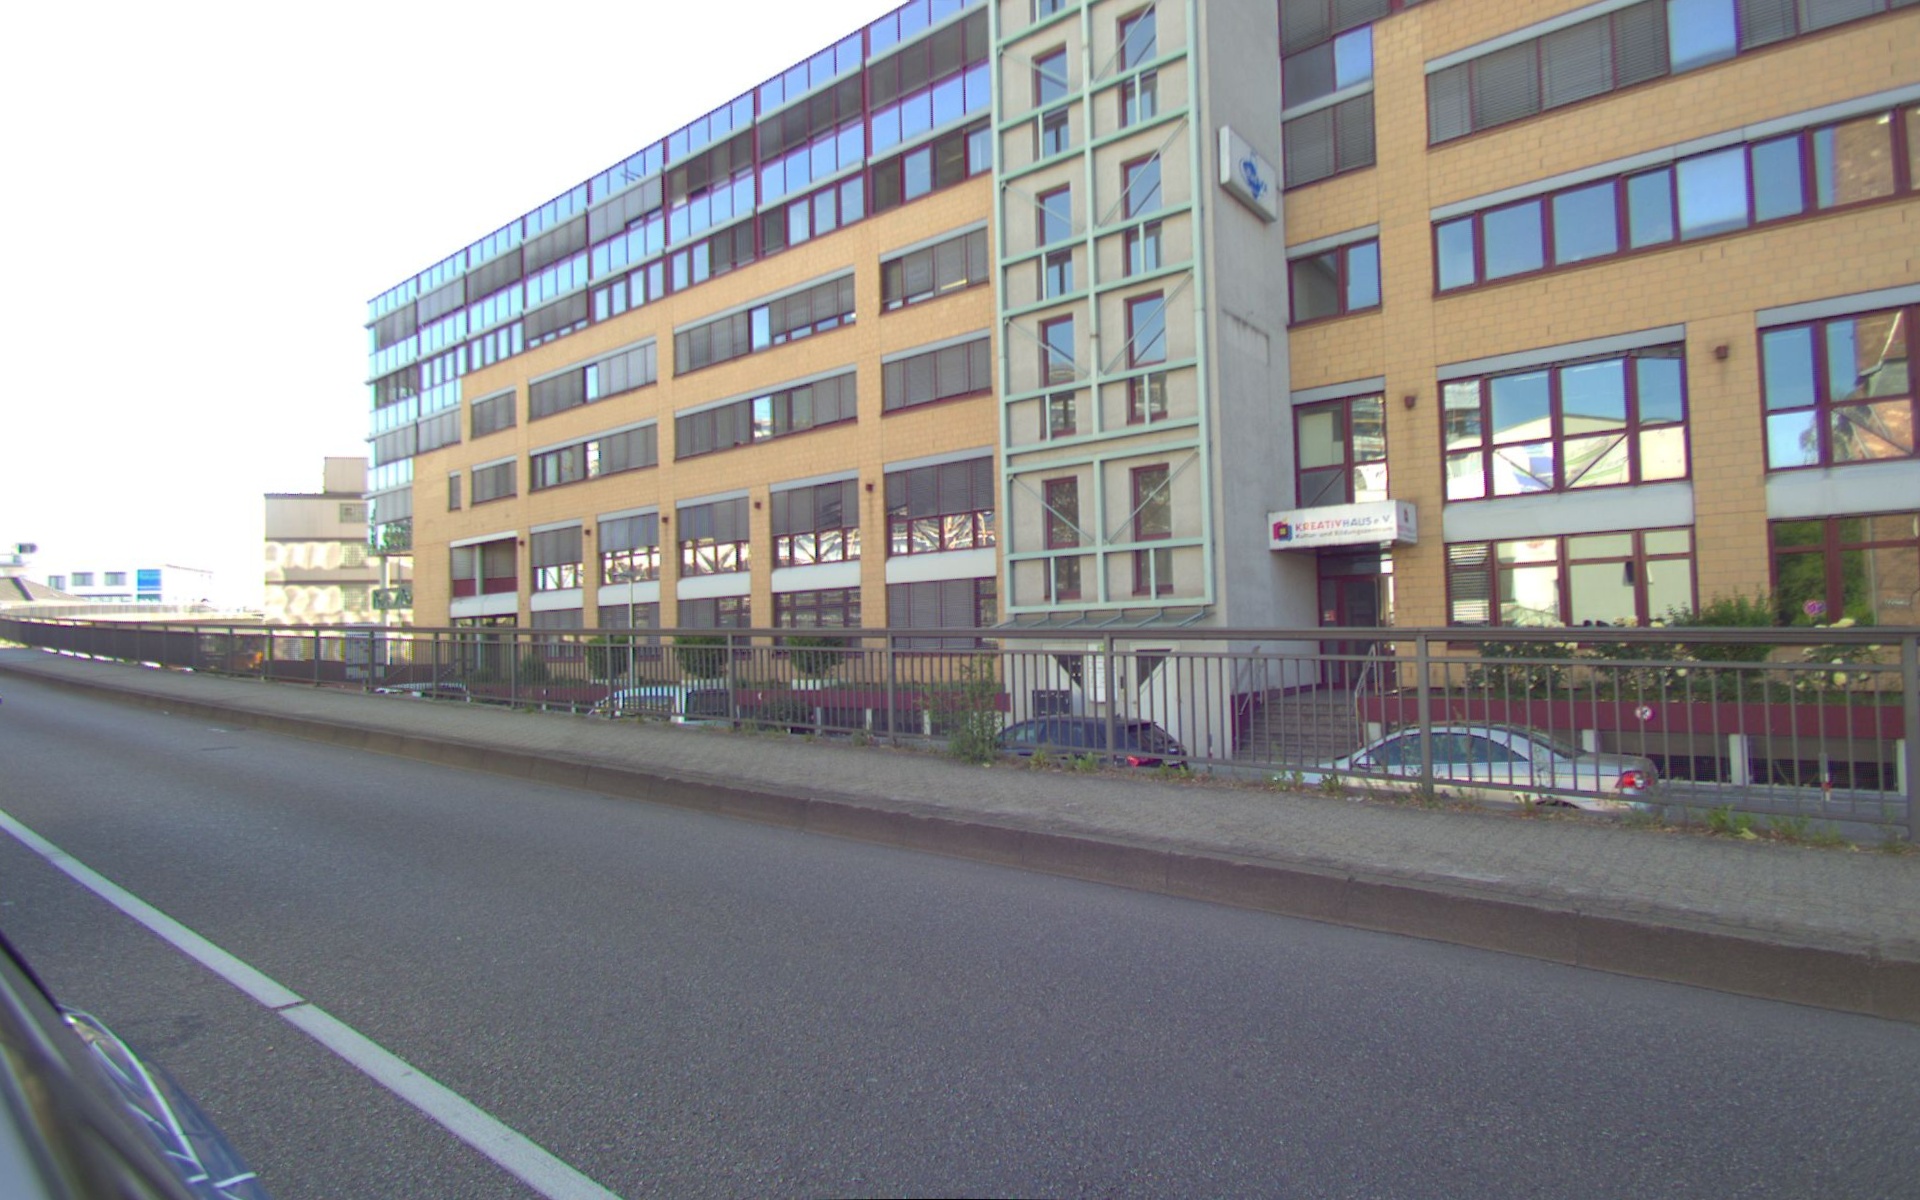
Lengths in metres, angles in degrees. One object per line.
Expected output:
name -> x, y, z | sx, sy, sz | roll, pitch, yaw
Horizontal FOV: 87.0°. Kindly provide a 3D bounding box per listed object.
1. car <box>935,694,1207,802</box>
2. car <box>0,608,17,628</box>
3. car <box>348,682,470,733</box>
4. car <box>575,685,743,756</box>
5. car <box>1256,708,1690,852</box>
car -> 1.577, 2.112, 15.103 | 3.804, 1.279, 1.560 | -3, -4, 39
car -> -70.249, 1.326, 73.461 | 1.717, 1.418, 4.213 | 2, -3, -31
car -> -15.834, 3.036, 29.018 | 3.804, 1.279, 1.744 | -3, -4, 39
car -> -6.491, 2.521, 21.670 | 3.804, 1.279, 1.560 | -3, -4, 39
car -> 5.844, 1.959, 11.824 | 4.253, 1.175, 1.704 | -3, -4, 39
